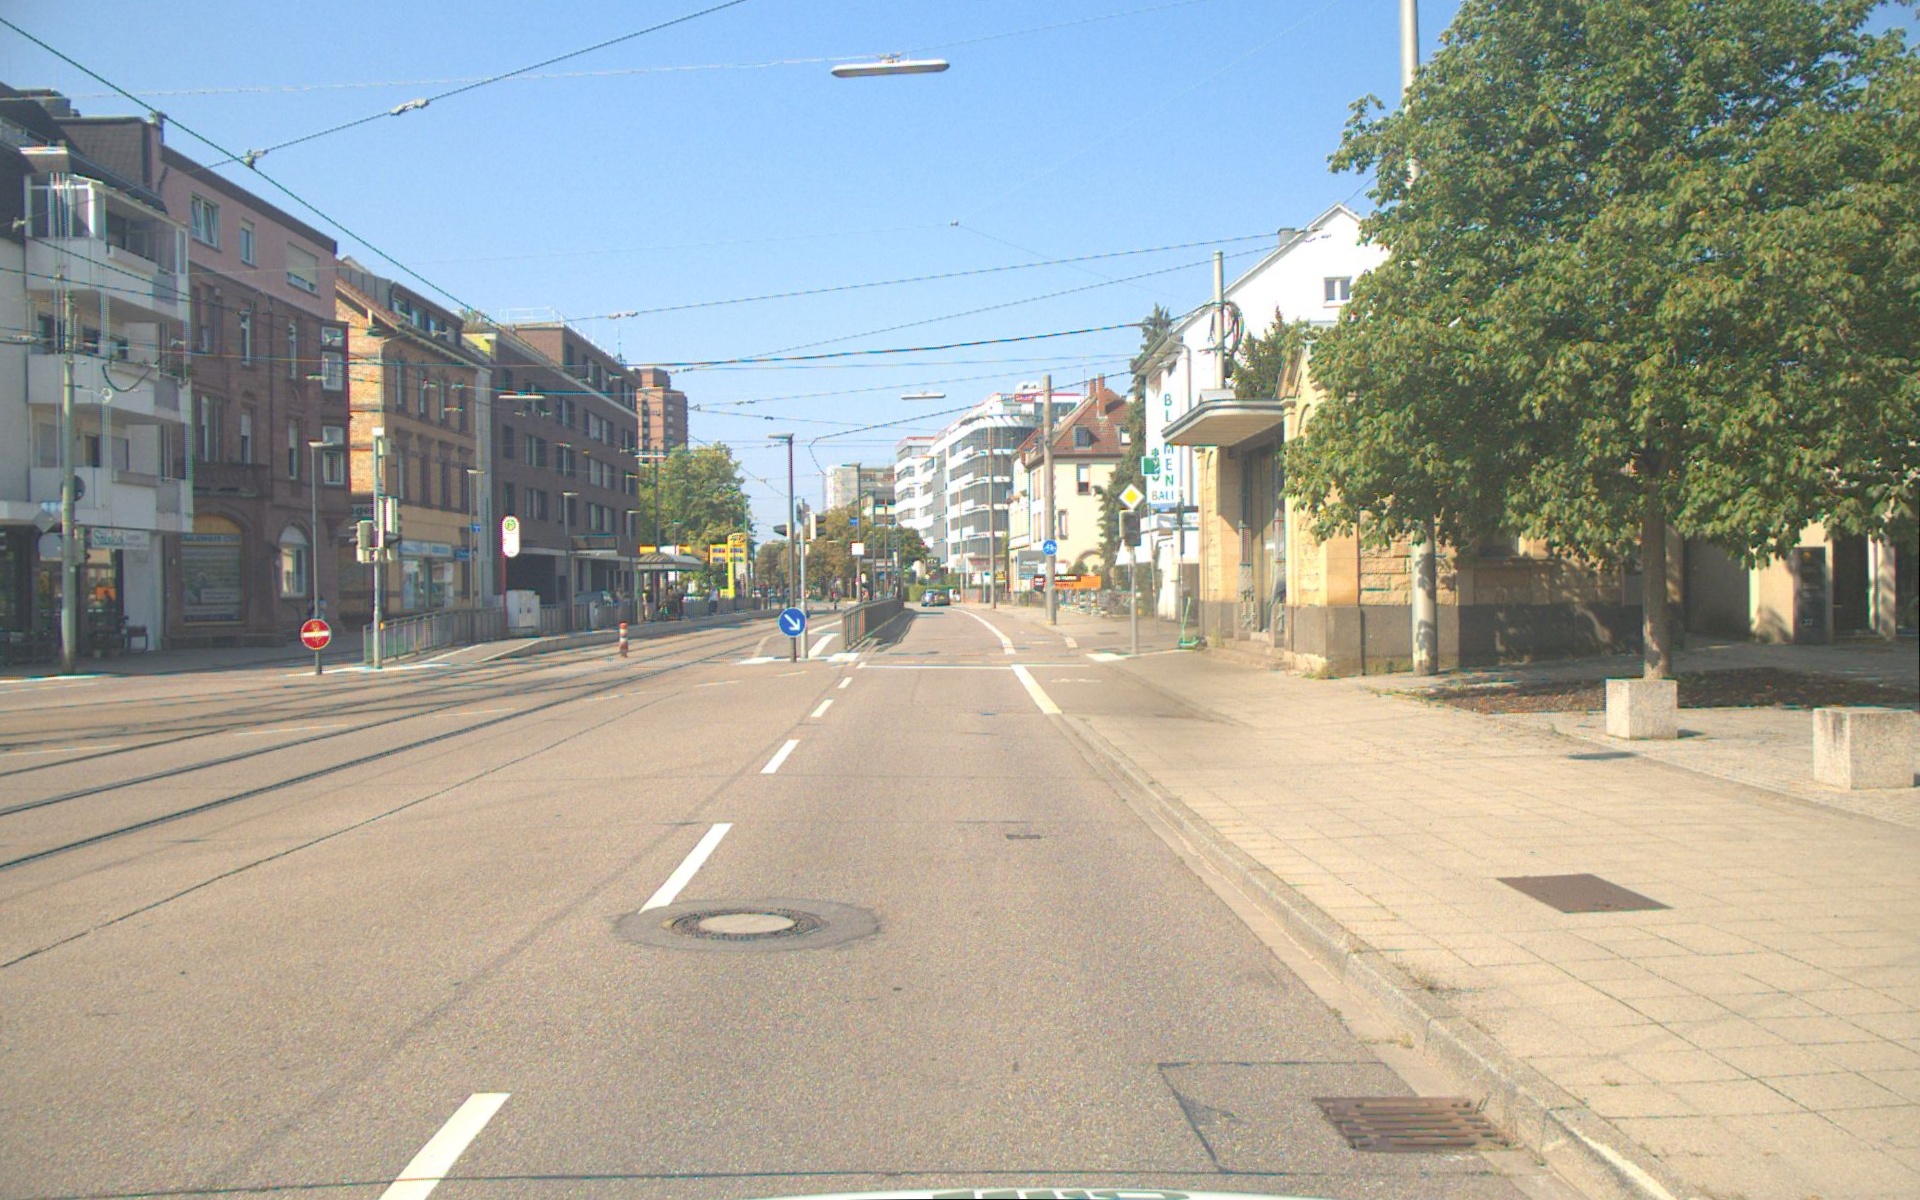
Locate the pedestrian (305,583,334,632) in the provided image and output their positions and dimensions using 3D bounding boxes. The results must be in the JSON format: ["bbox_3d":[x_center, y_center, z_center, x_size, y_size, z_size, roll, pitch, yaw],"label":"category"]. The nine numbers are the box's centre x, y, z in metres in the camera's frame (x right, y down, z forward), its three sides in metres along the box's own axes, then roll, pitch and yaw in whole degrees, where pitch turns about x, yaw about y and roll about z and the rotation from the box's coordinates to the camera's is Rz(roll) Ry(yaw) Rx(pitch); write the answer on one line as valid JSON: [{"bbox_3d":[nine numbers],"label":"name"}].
[{"bbox_3d":[-20.859,0.259,53.889,0.472,1.587,0.888,0,-1,10],"label":"pedestrian"}]

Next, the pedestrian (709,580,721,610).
[{"bbox_3d":[-12.826,-0.272,86.641,0.522,1.556,0.700,-3,0,-7],"label":"pedestrian"}]

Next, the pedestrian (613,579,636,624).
[{"bbox_3d":[-13.360,0.067,65.851,0.693,1.753,0.799,-3,0,0],"label":"pedestrian"}]

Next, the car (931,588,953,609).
[{"bbox_3d":[-1.697,-0.123,157.390,1.970,1.891,4.000,-3,0,0],"label":"car"}]

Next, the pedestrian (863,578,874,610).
[{"bbox_3d":[-5.088,-0.341,91.742,0.525,1.732,0.581,-3,0,-3],"label":"pedestrian"}]

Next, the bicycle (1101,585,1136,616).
[{"bbox_3d":[6.412,0.022,67.184,0.717,1.152,2.835,-5,0,-8],"label":"bicycle"}]

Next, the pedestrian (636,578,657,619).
[{"bbox_3d":[-13.747,-0.075,72.500,0.693,1.777,0.799,-3,0,0],"label":"pedestrian"}]

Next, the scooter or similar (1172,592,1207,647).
[{"bbox_3d":[5.019,0.415,36.230,0.512,1.153,1.511,-3,0,0],"label":"scooter or similar"}]

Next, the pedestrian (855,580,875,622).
[{"bbox_3d":[-3.994,0.030,69.886,0.705,1.732,0.884,-3,0,0],"label":"pedestrian"}]

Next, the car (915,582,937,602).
[{"bbox_3d":[-3.370,-0.775,163.437,1.970,1.891,4.000,-3,0,0],"label":"car"}]

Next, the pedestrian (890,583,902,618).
[{"bbox_3d":[-3.156,0.021,81.619,0.525,1.732,0.581,-3,0,-3],"label":"pedestrian"}]
